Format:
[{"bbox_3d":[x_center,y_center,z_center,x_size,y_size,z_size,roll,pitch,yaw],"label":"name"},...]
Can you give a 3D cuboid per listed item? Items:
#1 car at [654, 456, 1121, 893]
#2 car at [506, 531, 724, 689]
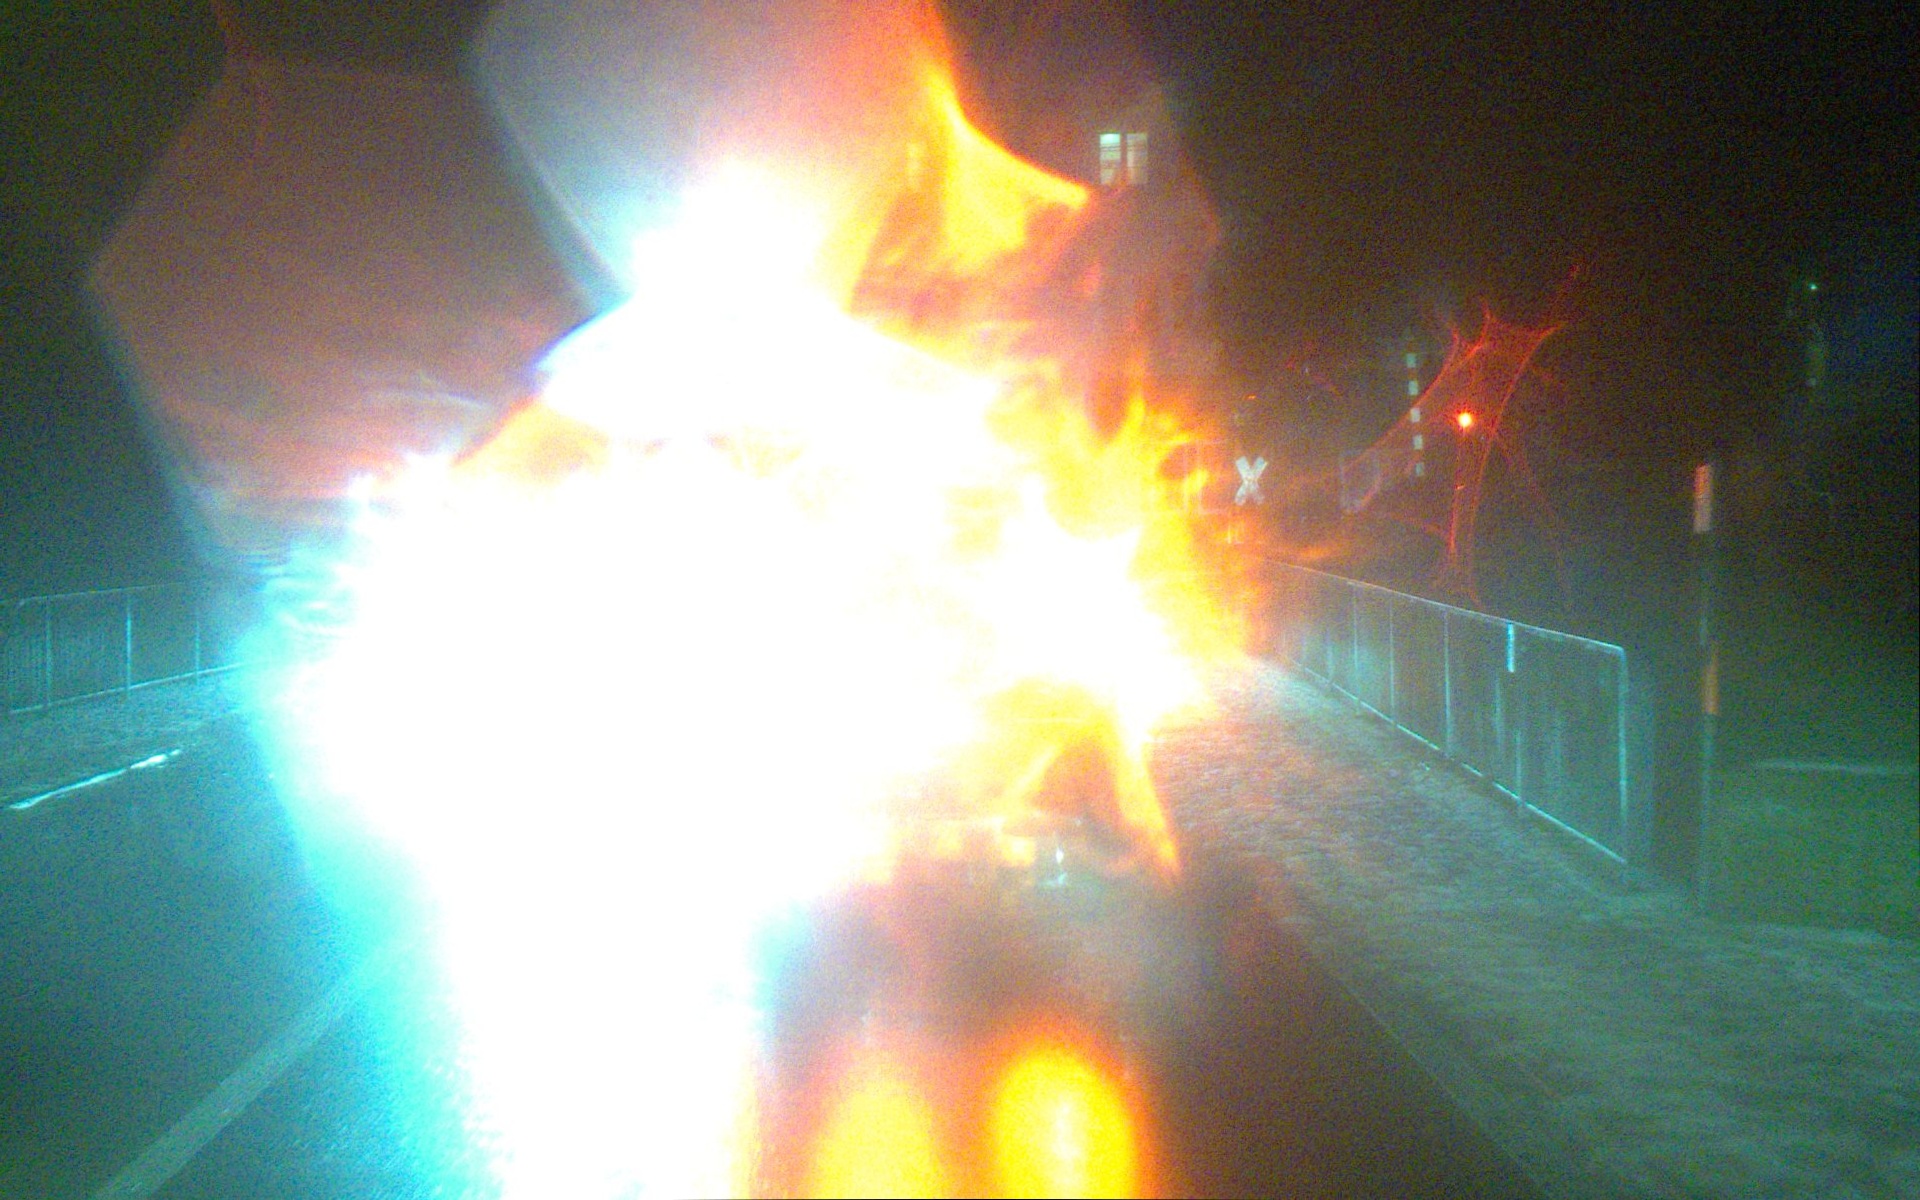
[{"bbox_3d":[-0.245,0.228,15.274,1.791,1.675,3.905,-1,2,1],"label":"car"},{"bbox_3d":[-3.819,0.090,38.735,1.874,1.540,4.355,-4,0,1],"label":"car"}]
